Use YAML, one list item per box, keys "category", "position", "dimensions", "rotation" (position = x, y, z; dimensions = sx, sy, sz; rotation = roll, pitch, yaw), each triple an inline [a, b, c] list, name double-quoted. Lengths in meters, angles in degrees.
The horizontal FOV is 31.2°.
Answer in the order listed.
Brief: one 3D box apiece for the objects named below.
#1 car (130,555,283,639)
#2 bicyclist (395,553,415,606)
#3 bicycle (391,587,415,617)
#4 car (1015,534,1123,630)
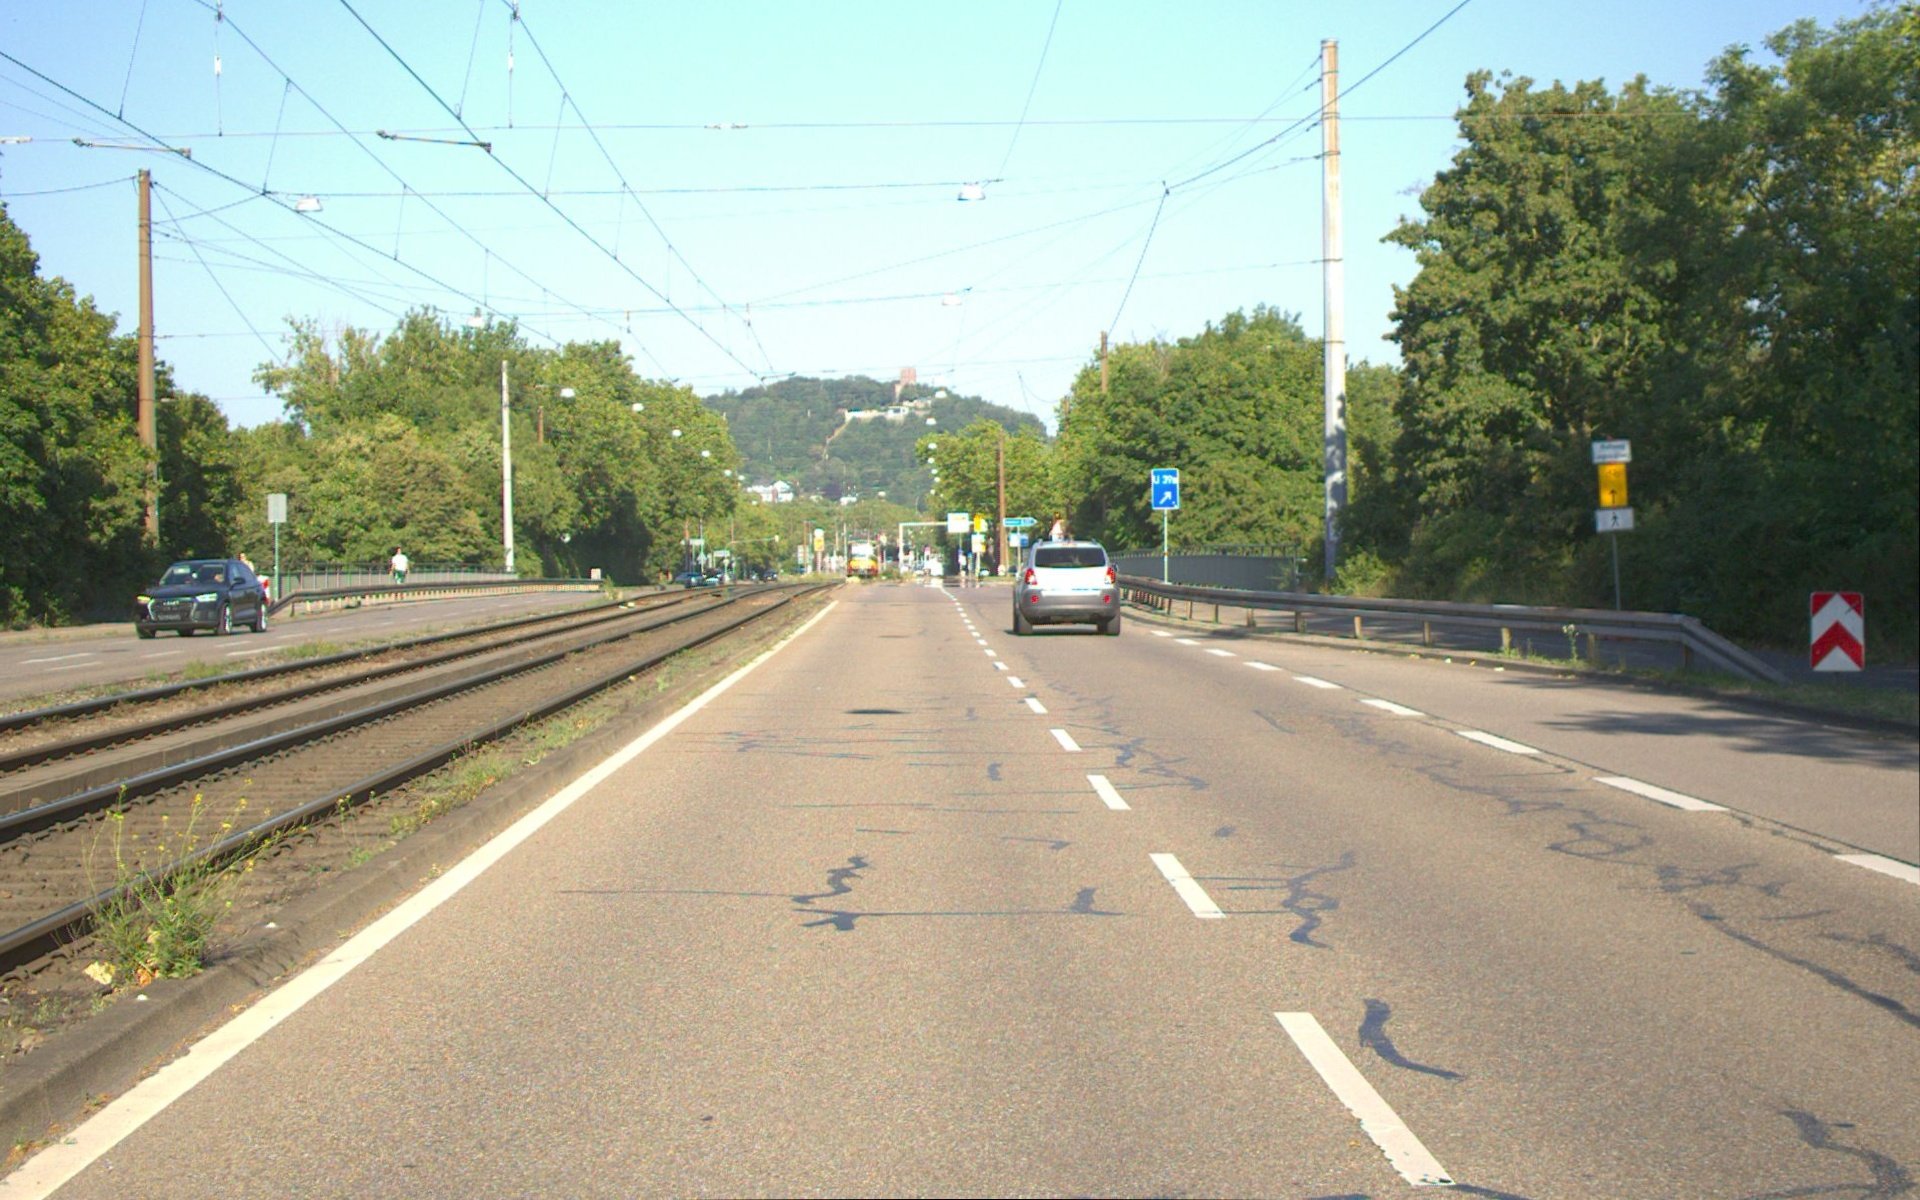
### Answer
- category: "car"
  position: [-16.035, -0.086, 73.391]
  dimensions: [1.994, 1.680, 4.795]
  rotation: [-2, 1, 2]
- category: "bicyclist"
  position: [-19.671, -0.735, 121.769]
  dimensions: [0.540, 1.856, 0.875]
  rotation: [1, 0, -1]
- category: "bicycle"
  position: [-19.686, 0.073, 121.504]
  dimensions: [0.540, 1.040, 1.925]
  rotation: [1, 1, -1]
- category: "car"
  position: [1.979, -0.340, 62.716]
  dimensions: [1.888, 1.688, 4.256]
  rotation: [0, 1, 2]
